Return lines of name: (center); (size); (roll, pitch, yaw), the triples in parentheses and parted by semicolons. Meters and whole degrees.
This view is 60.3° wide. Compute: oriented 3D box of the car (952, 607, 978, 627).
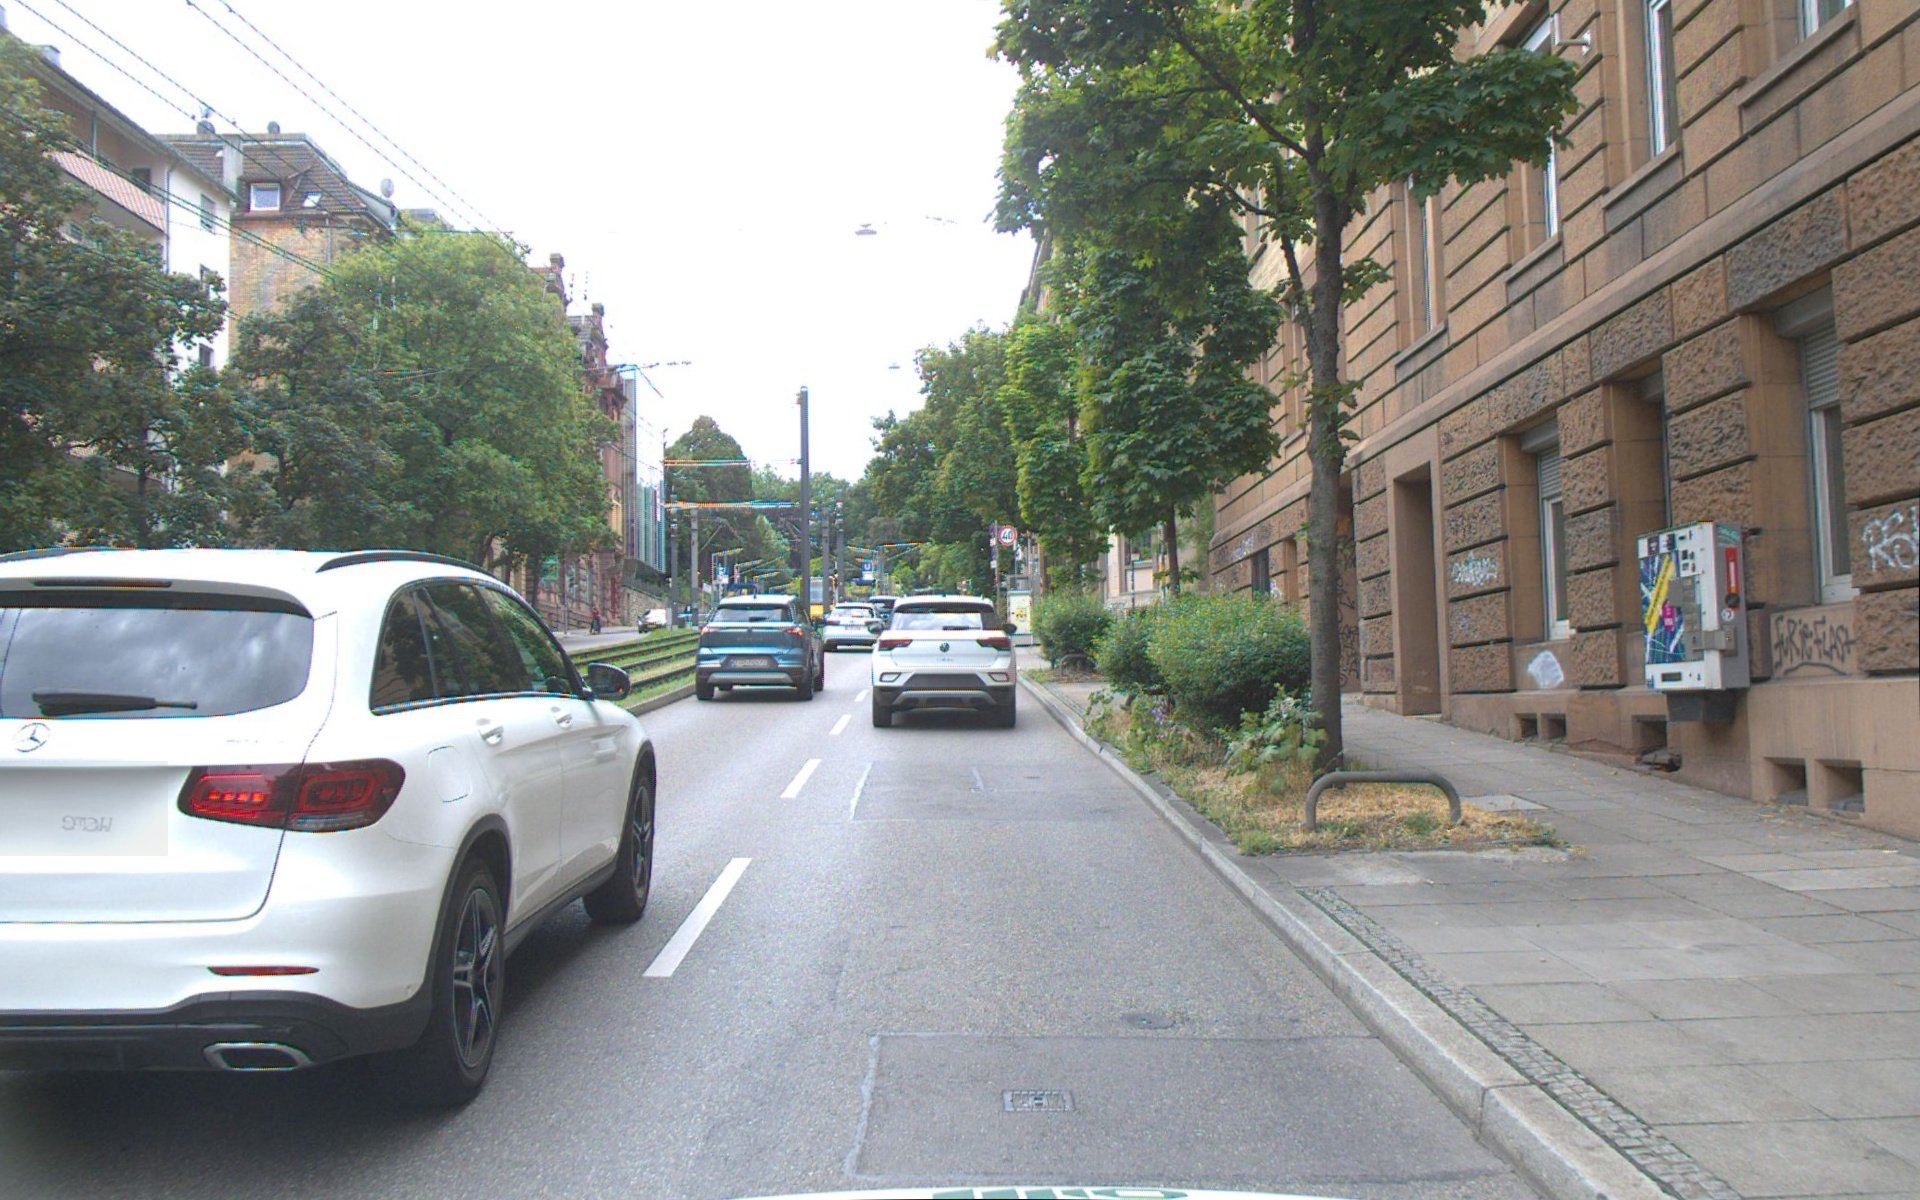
car: (0.375, 1.370, 133.268); (2.026, 1.573, 4.193); (0, 0, -1)

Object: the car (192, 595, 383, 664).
car: (-18.657, 0.803, 46.036); (1.902, 1.829, 4.579); (0, -1, 42)

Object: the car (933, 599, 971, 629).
car: (-0.461, 0.768, 91.822); (2.026, 1.573, 4.193); (0, 0, -1)

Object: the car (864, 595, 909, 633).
car: (-3.144, 0.574, 71.218); (1.798, 1.573, 4.193); (0, 0, -1)

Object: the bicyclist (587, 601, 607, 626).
bicyclist: (-21.646, 0.795, 98.706); (0.919, 1.450, 1.188); (-1, 0, -1)

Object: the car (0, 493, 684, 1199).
car: (-2.314, 0.607, 6.175); (1.798, 1.696, 4.670); (0, 0, 0)

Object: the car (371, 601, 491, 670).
car: (-14.443, 0.925, 45.429); (1.878, 1.678, 4.606); (-3, 0, -2)

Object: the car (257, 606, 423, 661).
car: (-19.430, 1.030, 51.909); (4.554, 1.646, 1.912); (1, 0, -35)

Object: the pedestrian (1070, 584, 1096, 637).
pedestrian: (4.003, 0.343, 53.713); (0.695, 1.691, 1.128); (-1, 0, 9)

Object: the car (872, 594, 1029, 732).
car: (-0.174, 0.737, 21.173); (1.798, 1.573, 4.192); (0, 0, -2)

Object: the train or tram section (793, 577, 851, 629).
train or tram section: (-9.628, 0.198, 116.991); (2.934, 3.407, 13.438); (-1, 0, 0)

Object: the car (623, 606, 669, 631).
car: (-18.668, 1.094, 98.360); (1.953, 1.427, 4.000); (-1, 0, 0)

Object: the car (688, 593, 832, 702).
car: (-3.082, 0.701, 26.286); (1.798, 1.573, 4.193); (0, 0, -1)

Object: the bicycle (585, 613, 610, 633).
bicycle: (-21.626, 1.381, 98.660); (0.919, 1.119, 2.702); (-1, 0, -1)

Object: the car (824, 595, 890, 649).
car: (-3.118, 0.648, 50.843); (1.798, 1.573, 4.193); (0, 0, -1)

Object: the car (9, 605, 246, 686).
car: (-18.637, 0.996, 37.112); (4.552, 1.711, 1.913); (1, 0, -34)

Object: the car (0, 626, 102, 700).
car: (-18.989, 1.182, 31.467); (4.552, 1.368, 1.913); (1, 0, -34)

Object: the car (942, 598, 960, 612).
car: (-1.065, 0.610, 189.170); (2.026, 1.573, 4.193); (0, 0, -1)

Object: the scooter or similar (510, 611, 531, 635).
scooter or similar: (-23.605, 1.220, 88.816); (0.616, 1.277, 2.214); (-1, 0, -3)

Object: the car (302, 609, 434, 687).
car: (-12.359, 0.968, 34.723); (1.556, 1.460, 3.411); (-3, 0, -2)
